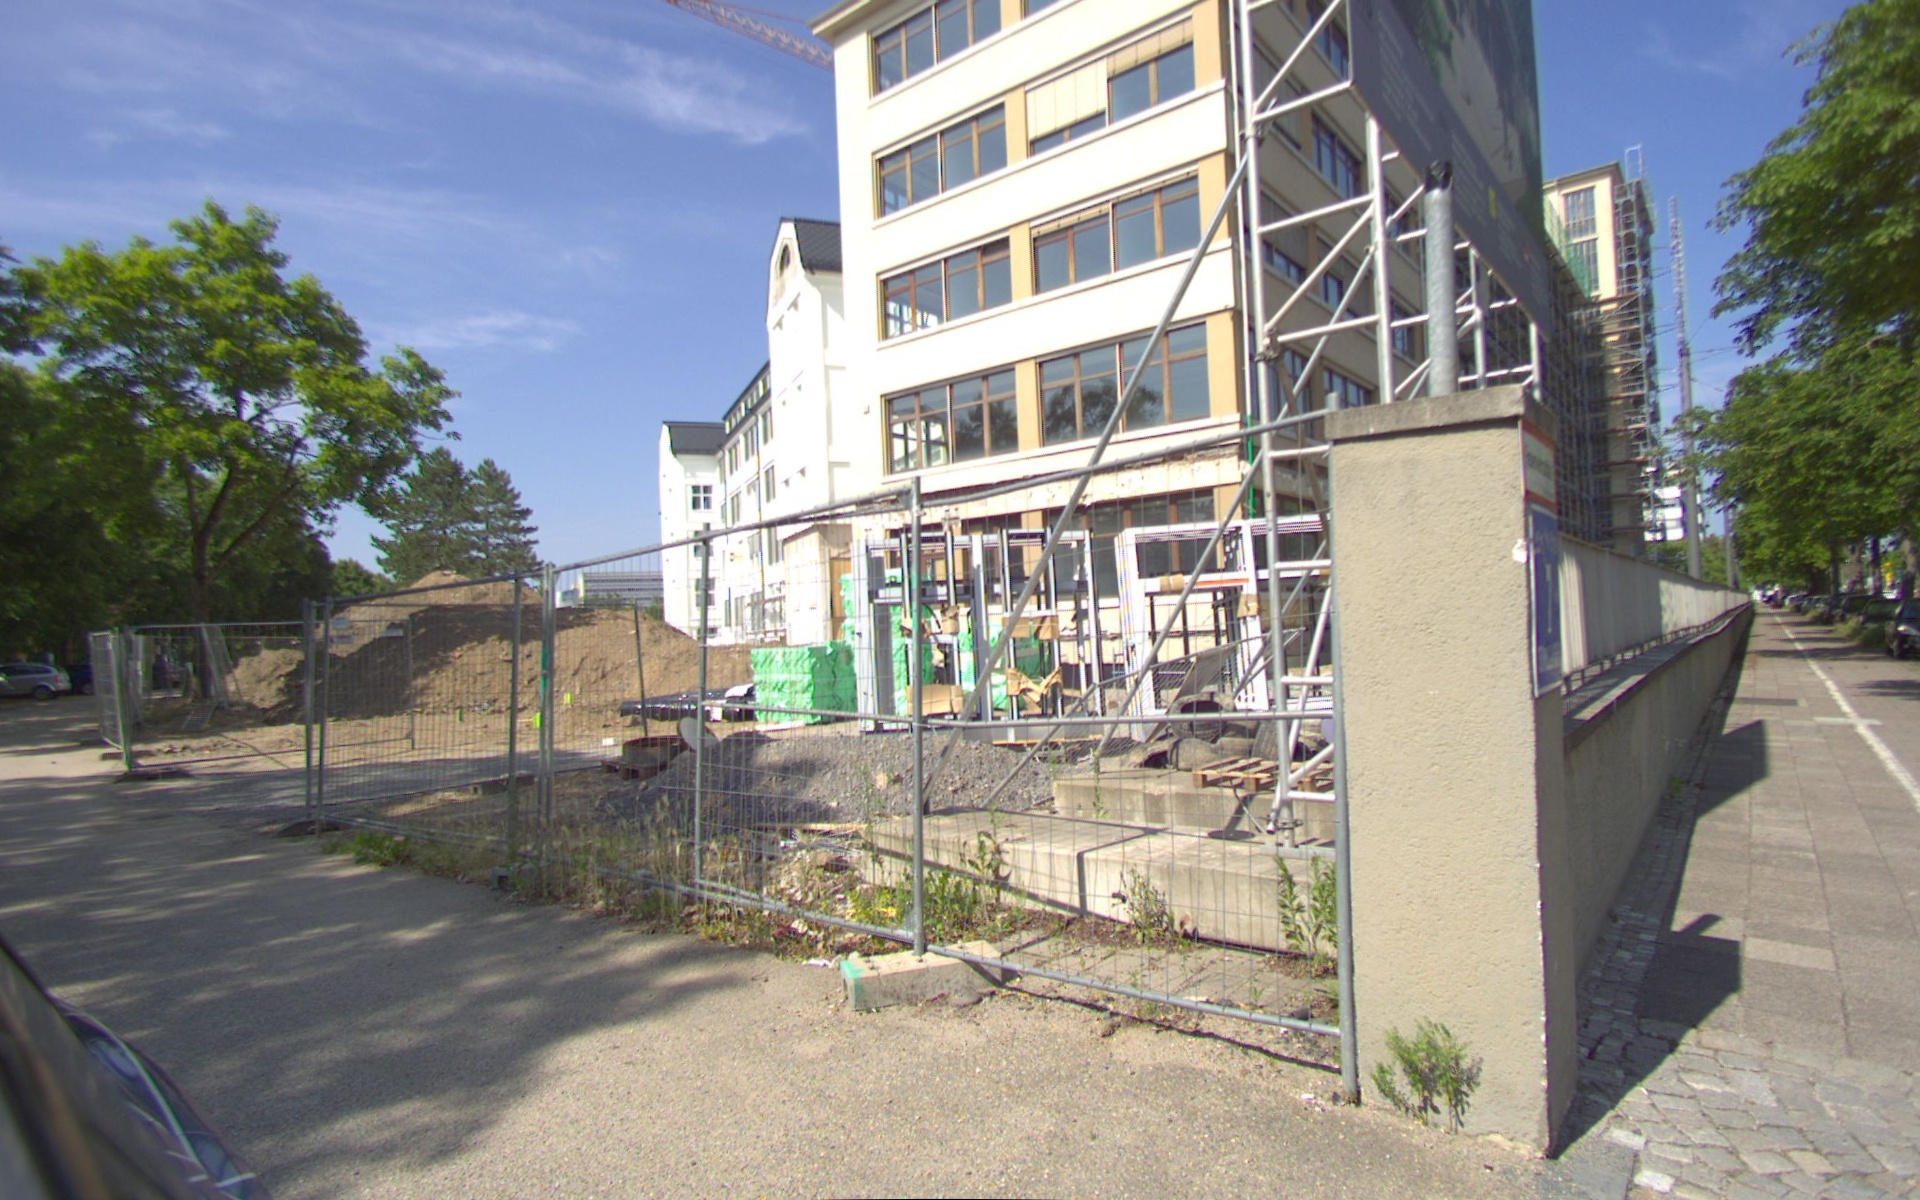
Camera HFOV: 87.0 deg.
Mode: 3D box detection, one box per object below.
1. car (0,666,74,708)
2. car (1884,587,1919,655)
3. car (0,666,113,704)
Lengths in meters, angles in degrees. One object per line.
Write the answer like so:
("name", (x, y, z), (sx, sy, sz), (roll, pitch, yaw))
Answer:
("car", (-38.254, 3.521, 40.470), (3.932, 1.519, 2.006), (-1, -2, -31))
("car", (22.658, 0.425, 23.177), (1.819, 1.464, 3.949), (-4, -2, 38))
("car", (-40.676, 3.796, 45.293), (3.932, 1.453, 2.006), (-1, -2, -31))
